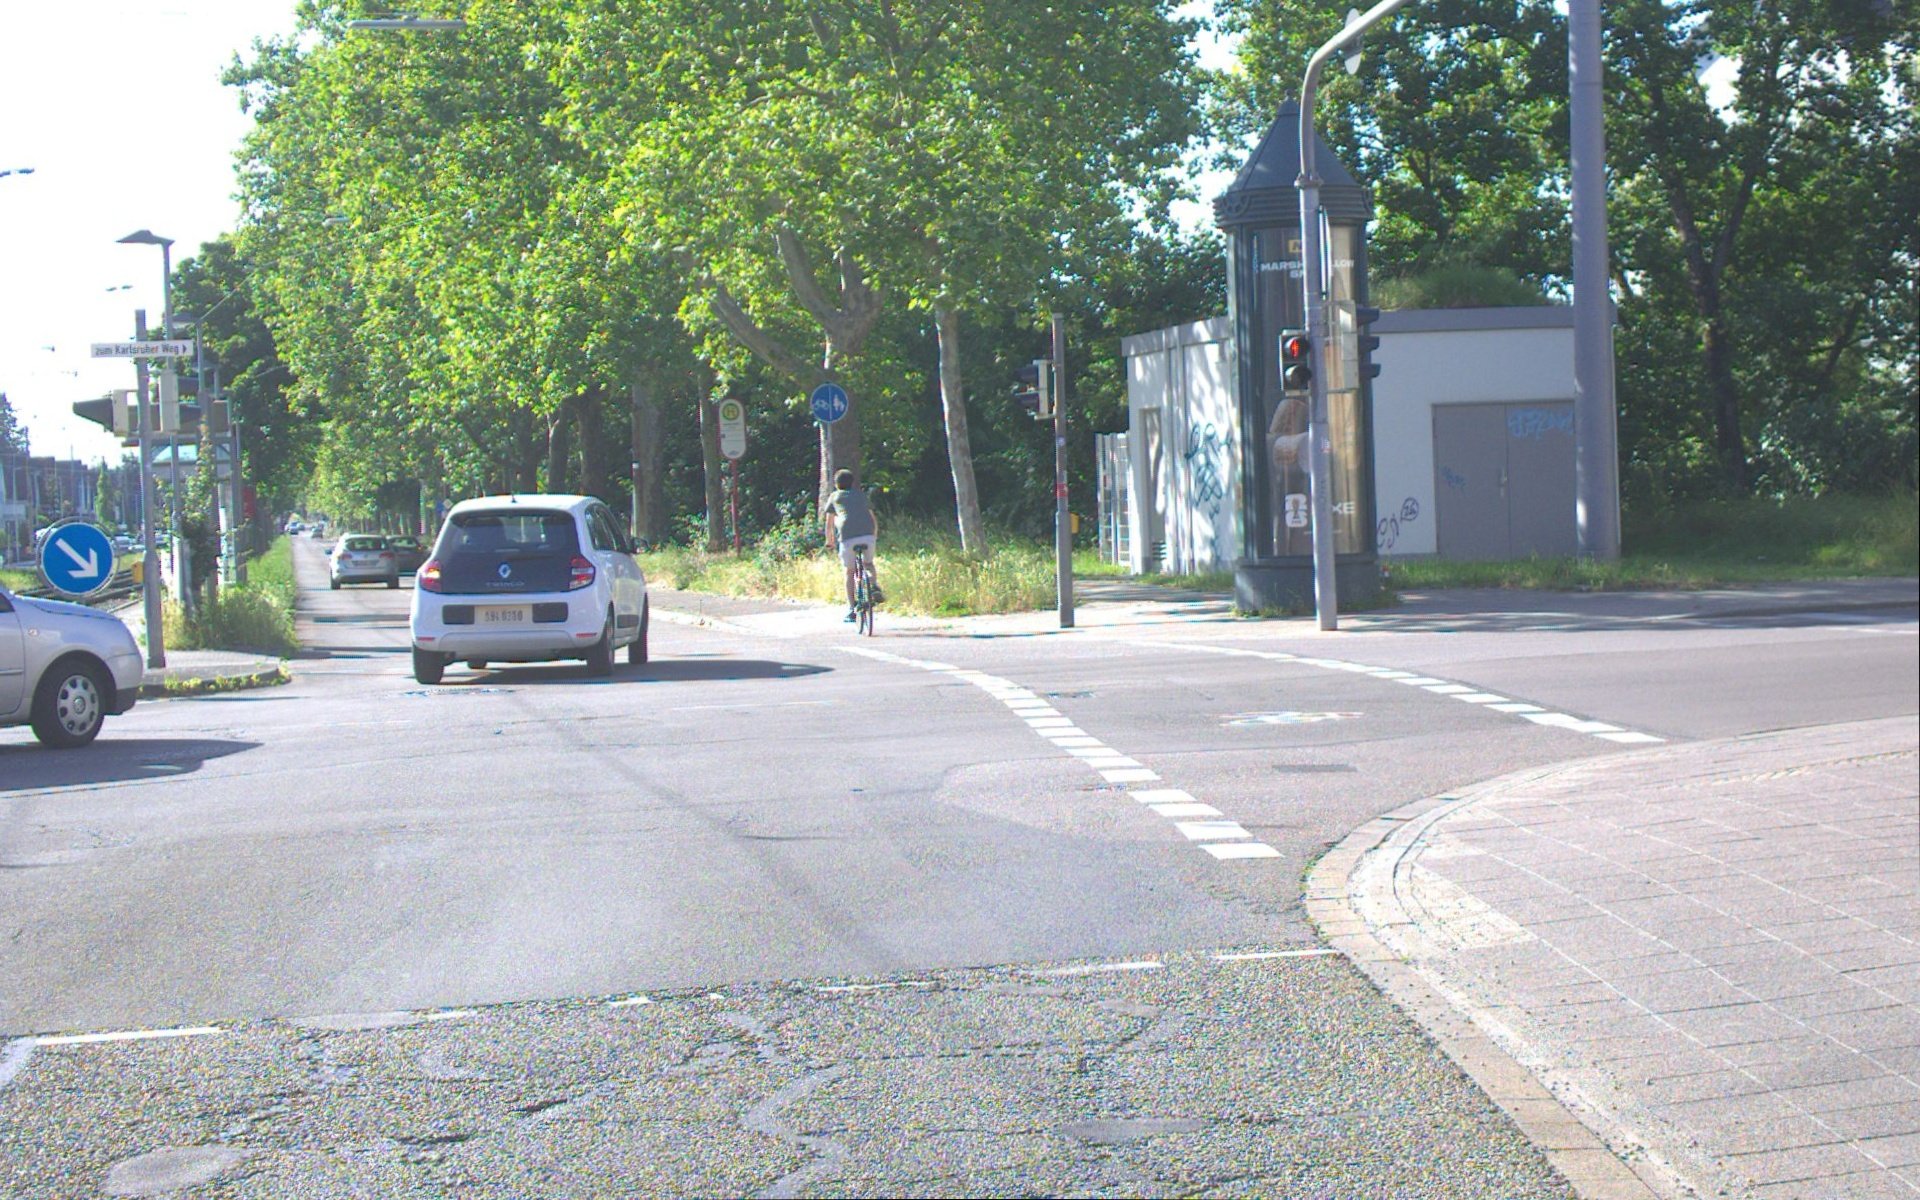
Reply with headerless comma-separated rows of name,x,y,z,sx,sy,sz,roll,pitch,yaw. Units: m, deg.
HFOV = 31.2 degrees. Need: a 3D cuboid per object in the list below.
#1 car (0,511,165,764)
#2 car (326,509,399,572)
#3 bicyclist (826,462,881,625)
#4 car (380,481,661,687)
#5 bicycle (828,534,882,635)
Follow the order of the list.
car,-6.787,0.256,20.519,1.871,1.481,3.547,-1,2,39
car,-16.172,-1.615,92.984,1.750,1.599,3.582,-3,2,-12
bicyclist,-1.172,-0.628,37.912,0.534,1.763,0.713,-2,2,-1
car,-3.723,-0.190,29.697,1.750,1.599,3.750,-2,2,2
bicycle,-1.151,-0.180,37.828,0.536,1.062,1.434,-2,2,-1
